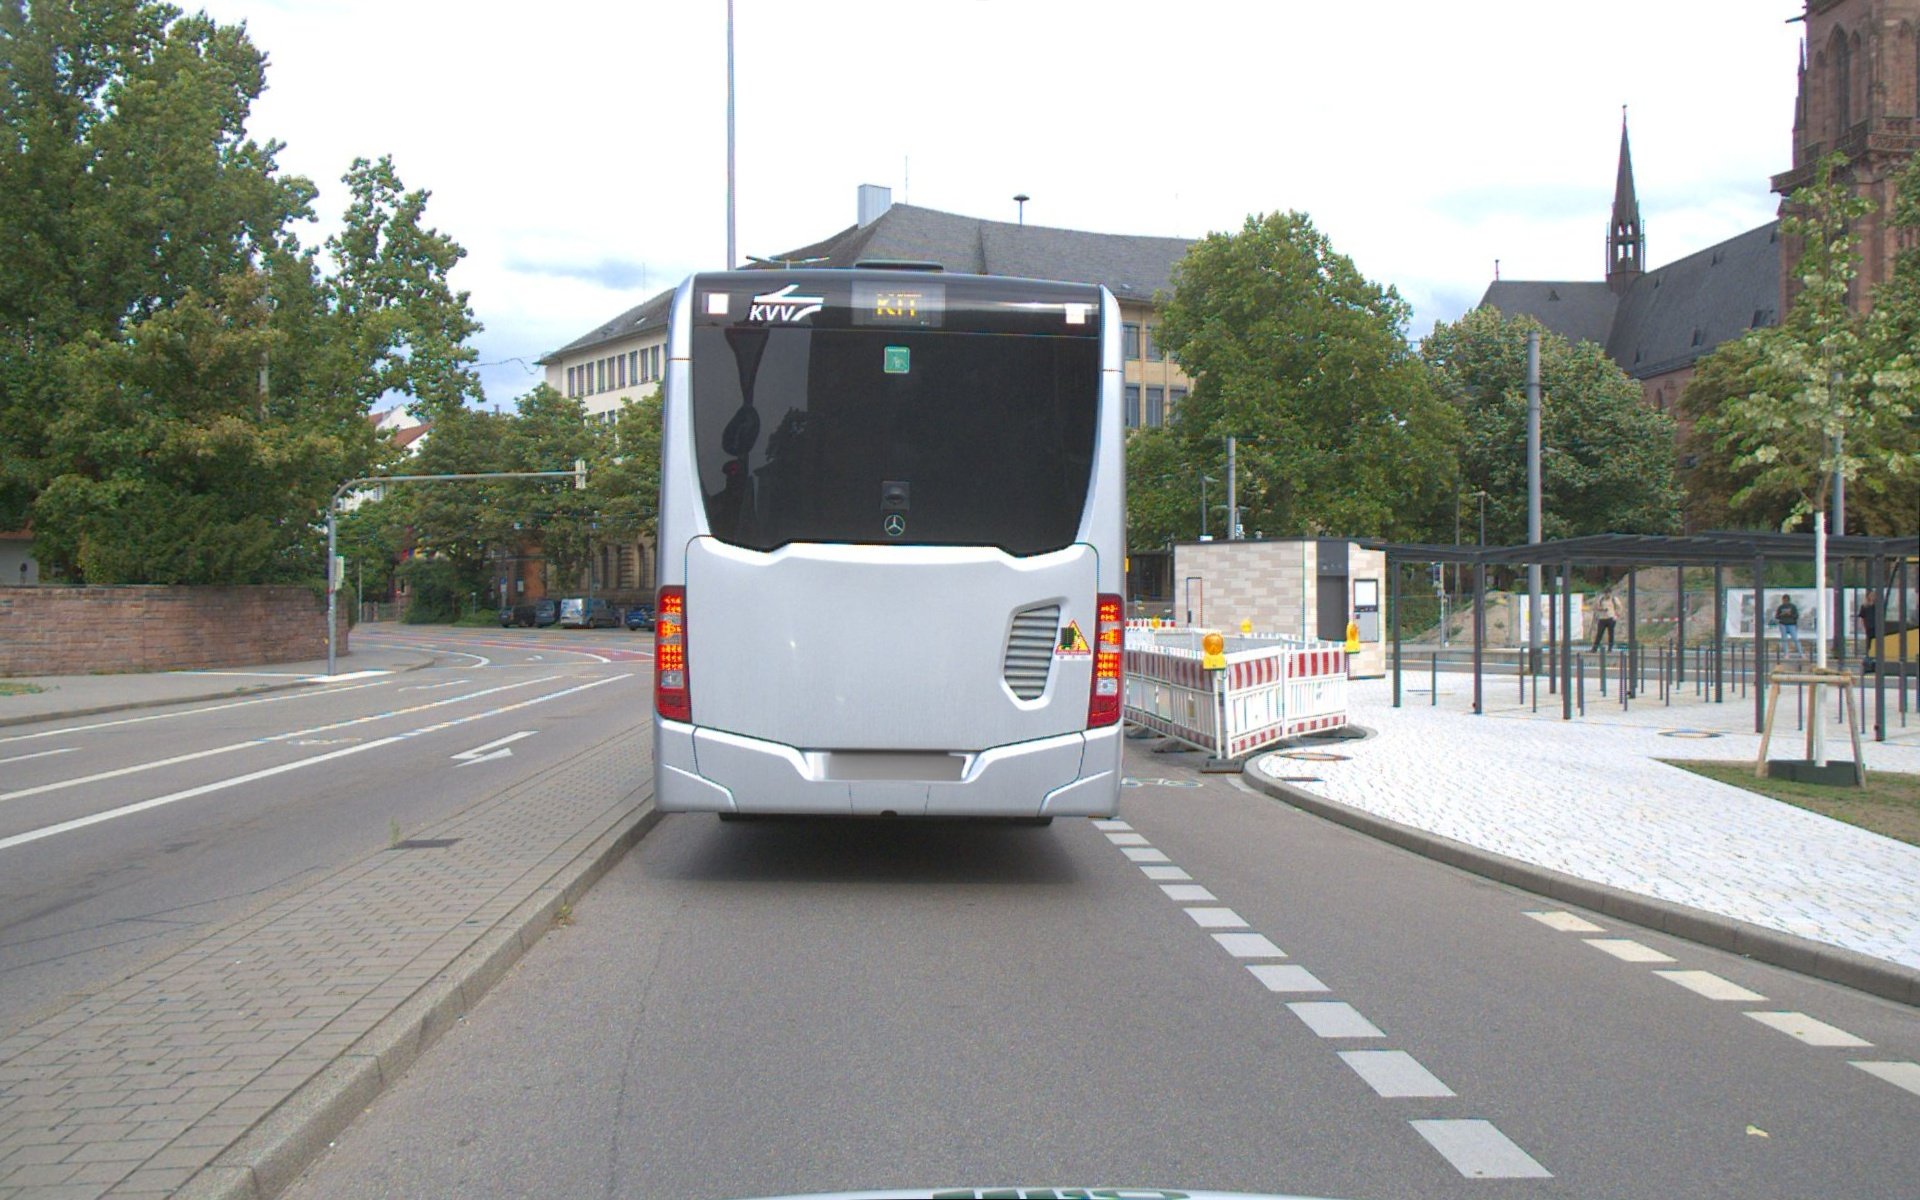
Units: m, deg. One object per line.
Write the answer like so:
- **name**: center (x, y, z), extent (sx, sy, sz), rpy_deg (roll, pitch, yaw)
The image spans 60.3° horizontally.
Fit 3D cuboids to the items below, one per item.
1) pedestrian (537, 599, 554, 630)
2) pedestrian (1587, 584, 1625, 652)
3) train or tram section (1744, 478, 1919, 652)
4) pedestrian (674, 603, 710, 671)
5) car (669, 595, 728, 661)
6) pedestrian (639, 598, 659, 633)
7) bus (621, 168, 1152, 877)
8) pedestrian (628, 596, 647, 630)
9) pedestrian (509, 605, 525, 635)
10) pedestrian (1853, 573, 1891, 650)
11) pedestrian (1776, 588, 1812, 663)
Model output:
- **pedestrian**: center (-27.792, 0.944, 110.846), extent (0.877, 2.049, 0.999), rpy_deg (0, 0, -29)
- **pedestrian**: center (17.872, 0.487, 45.747), extent (0.803, 1.832, 0.753), rpy_deg (0, 2, 8)
- **train or tram section**: center (20.304, -0.671, 31.639), extent (3.031, 3.334, 9.244), rpy_deg (-2, 3, -38)
- **pedestrian**: center (-7.033, 0.959, 43.388), extent (0.780, 1.740, 0.840), rpy_deg (0, 2, 2)
- **car**: center (-9.094, 0.934, 57.396), extent (1.957, 2.048, 3.992), rpy_deg (0, 2, -10)
- **pedestrian**: center (-18.251, 0.917, 97.095), extent (0.877, 2.049, 0.999), rpy_deg (0, 0, -29)
- **bus**: center (-0.949, -0.294, 15.341), extent (2.652, 3.498, 14.168), rpy_deg (0, -1, -5)
- **pedestrian**: center (-19.502, 0.796, 100.160), extent (0.877, 2.049, 0.999), rpy_deg (0, 0, -29)
- **pedestrian**: center (-30.728, 1.393, 114.828), extent (0.877, 2.049, 0.999), rpy_deg (0, 0, -29)
- **pedestrian**: center (22.082, 0.276, 40.030), extent (0.519, 1.832, 0.667), rpy_deg (-2, 3, -45)
- **pedestrian**: center (20.843, 0.637, 41.345), extent (0.519, 1.832, 0.667), rpy_deg (-2, 3, -45)
